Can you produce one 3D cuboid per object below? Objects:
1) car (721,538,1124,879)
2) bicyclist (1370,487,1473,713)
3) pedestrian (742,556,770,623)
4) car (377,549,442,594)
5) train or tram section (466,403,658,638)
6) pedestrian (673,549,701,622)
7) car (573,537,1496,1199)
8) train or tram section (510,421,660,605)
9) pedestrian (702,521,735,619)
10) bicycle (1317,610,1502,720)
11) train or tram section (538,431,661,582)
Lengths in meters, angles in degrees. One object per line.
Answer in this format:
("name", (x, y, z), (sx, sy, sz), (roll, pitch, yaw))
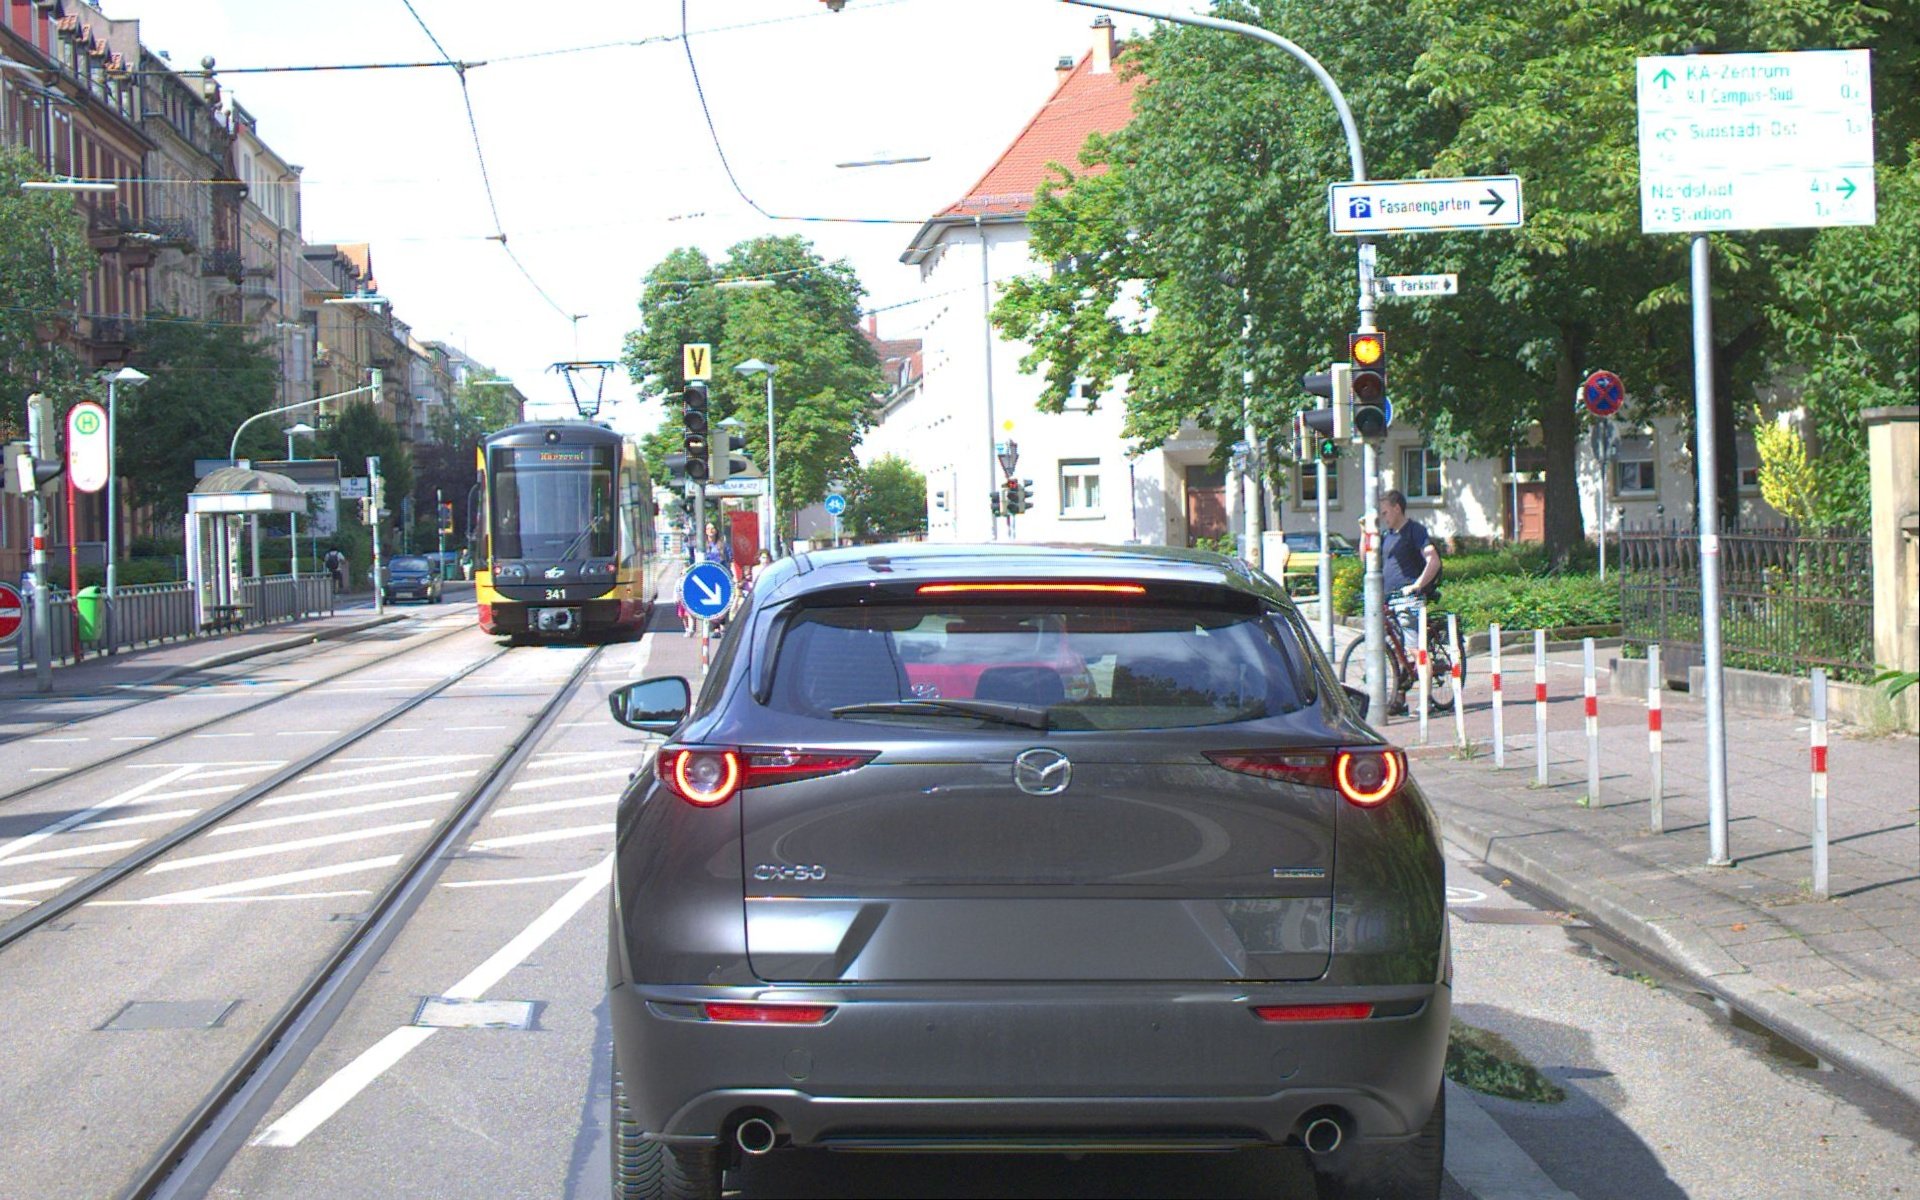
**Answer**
("car", (-0.212, 0.447, 17.285), (1.778, 1.494, 4.000), (1, 1, -1))
("bicyclist", (3.709, -0.007, 27.650), (0.608, 1.786, 0.658), (-2, 1, -11))
("pedestrian", (-3.019, -0.160, 50.903), (0.379, 0.981, 0.474), (-2, 1, -5))
("car", (-16.616, -0.876, 103.947), (1.614, 1.305, 3.628), (-1, 1, -4))
("train or tram section", (-6.643, -1.448, 59.165), (2.752, 3.478, 14.411), (-2, 2, -5))
("pedestrian", (-4.032, -0.215, 50.775), (0.379, 1.067, 0.474), (-2, 1, -5))
("car", (0.101, 0.599, 8.665), (1.778, 1.494, 4.000), (1, 1, -1))
("train or tram section", (-7.863, -1.933, 73.514), (2.752, 3.478, 14.411), (-2, 2, -5))
("pedestrian", (-3.572, -0.443, 50.846), (0.450, 1.429, 0.474), (-2, 1, -5))
("bicycle", (3.681, 0.517, 28.073), (1.694, 0.821, 0.494), (-2, 1, -42))
("train or tram section", (-9.083, -2.432, 87.872), (2.752, 3.478, 14.411), (-2, 2, -5))
